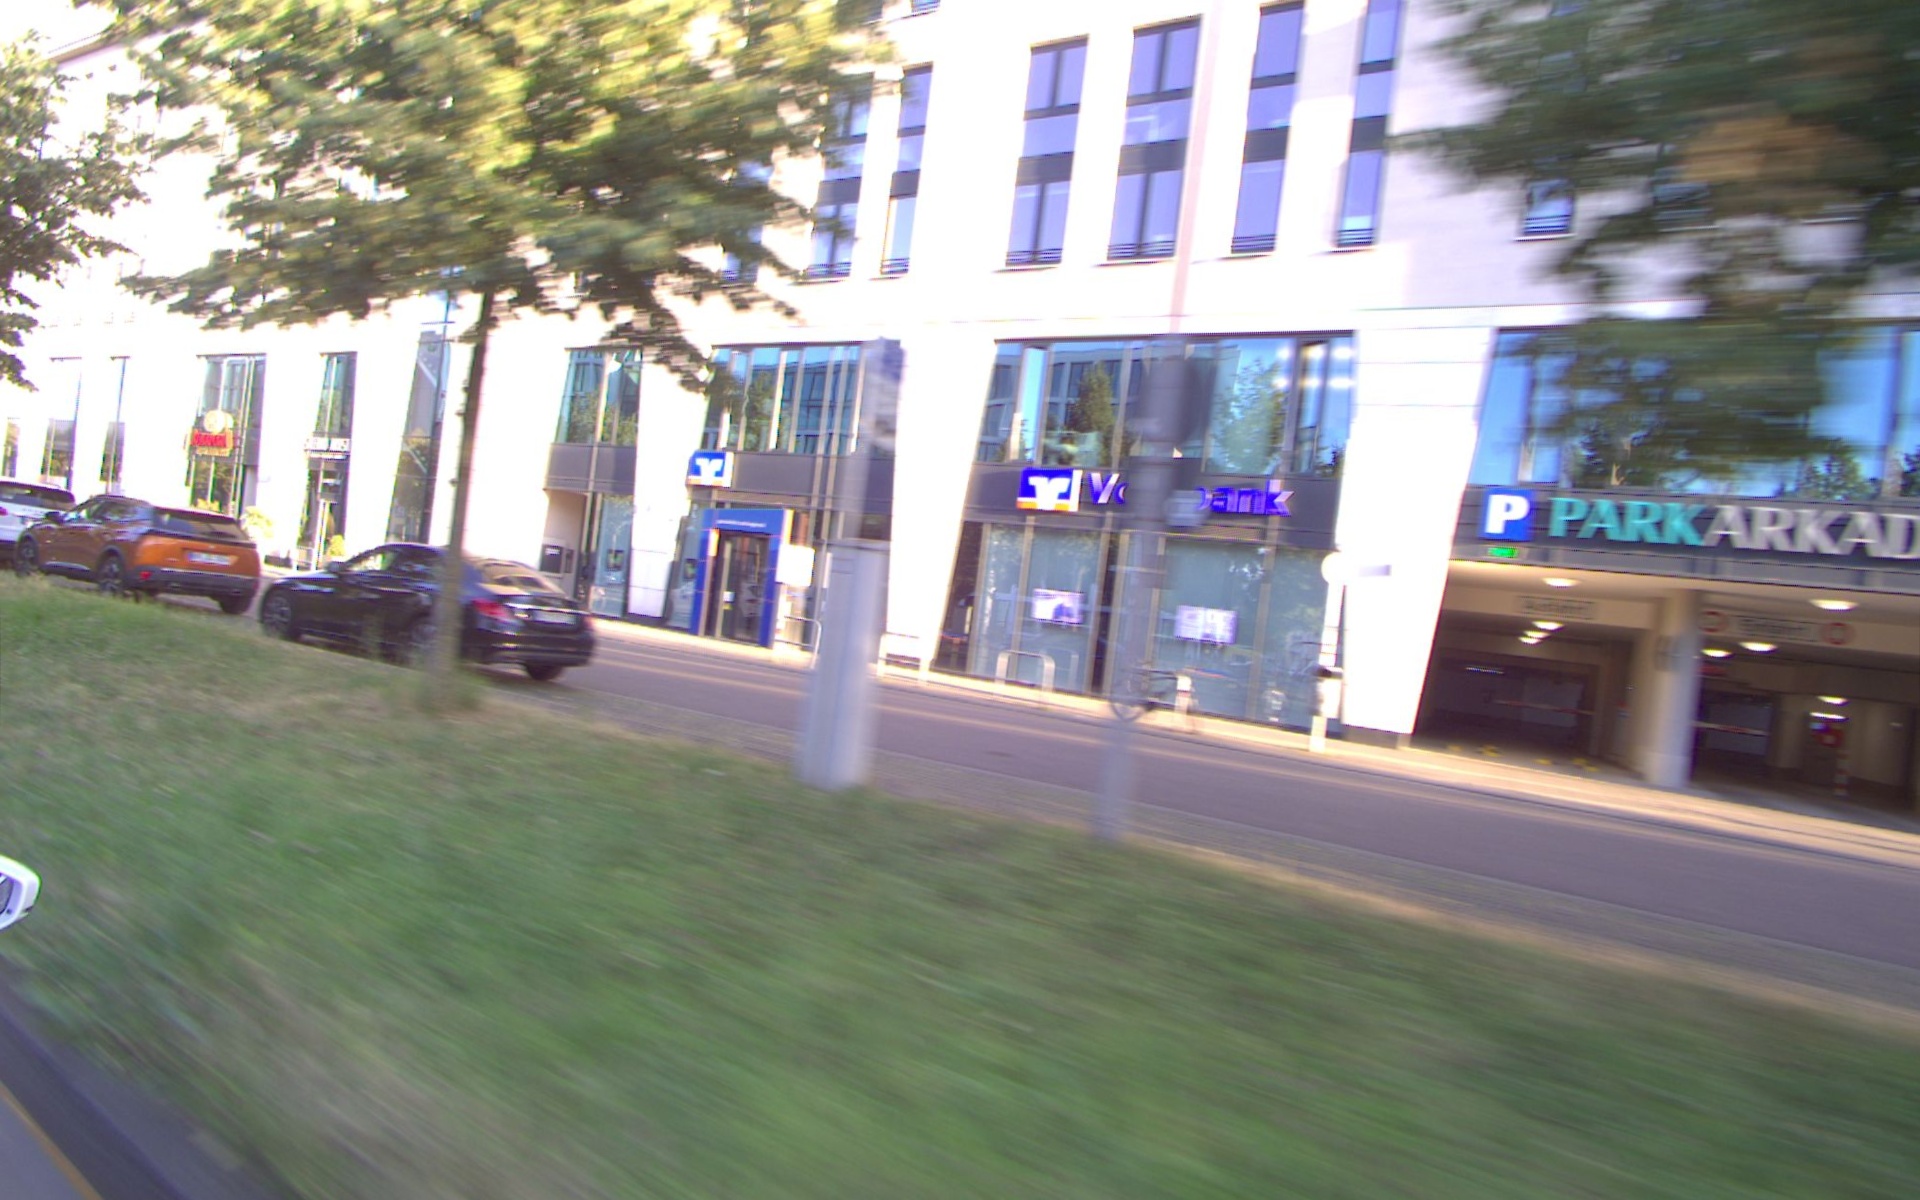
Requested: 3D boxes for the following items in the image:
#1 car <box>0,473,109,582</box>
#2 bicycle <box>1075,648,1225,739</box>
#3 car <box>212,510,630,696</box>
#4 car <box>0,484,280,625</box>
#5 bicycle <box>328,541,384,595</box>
[{"bbox_3d":[-18.846,-1.563,19.398,5.071,1.734,1.956,7,-2,30],"label":"car"},{"bbox_3d":[2.854,1.395,15.193,2.020,1.051,0.654,7,0,29],"label":"bicycle"},{"bbox_3d":[-6.532,0.016,12.125,4.727,1.567,1.949,7,-1,26],"label":"car"},{"bbox_3d":[-12.773,-0.724,15.473,4.405,1.547,1.860,7,-2,28],"label":"car"},{"bbox_3d":[-15.096,-0.806,25.109,1.807,1.139,0.570,8,2,40],"label":"bicycle"}]
